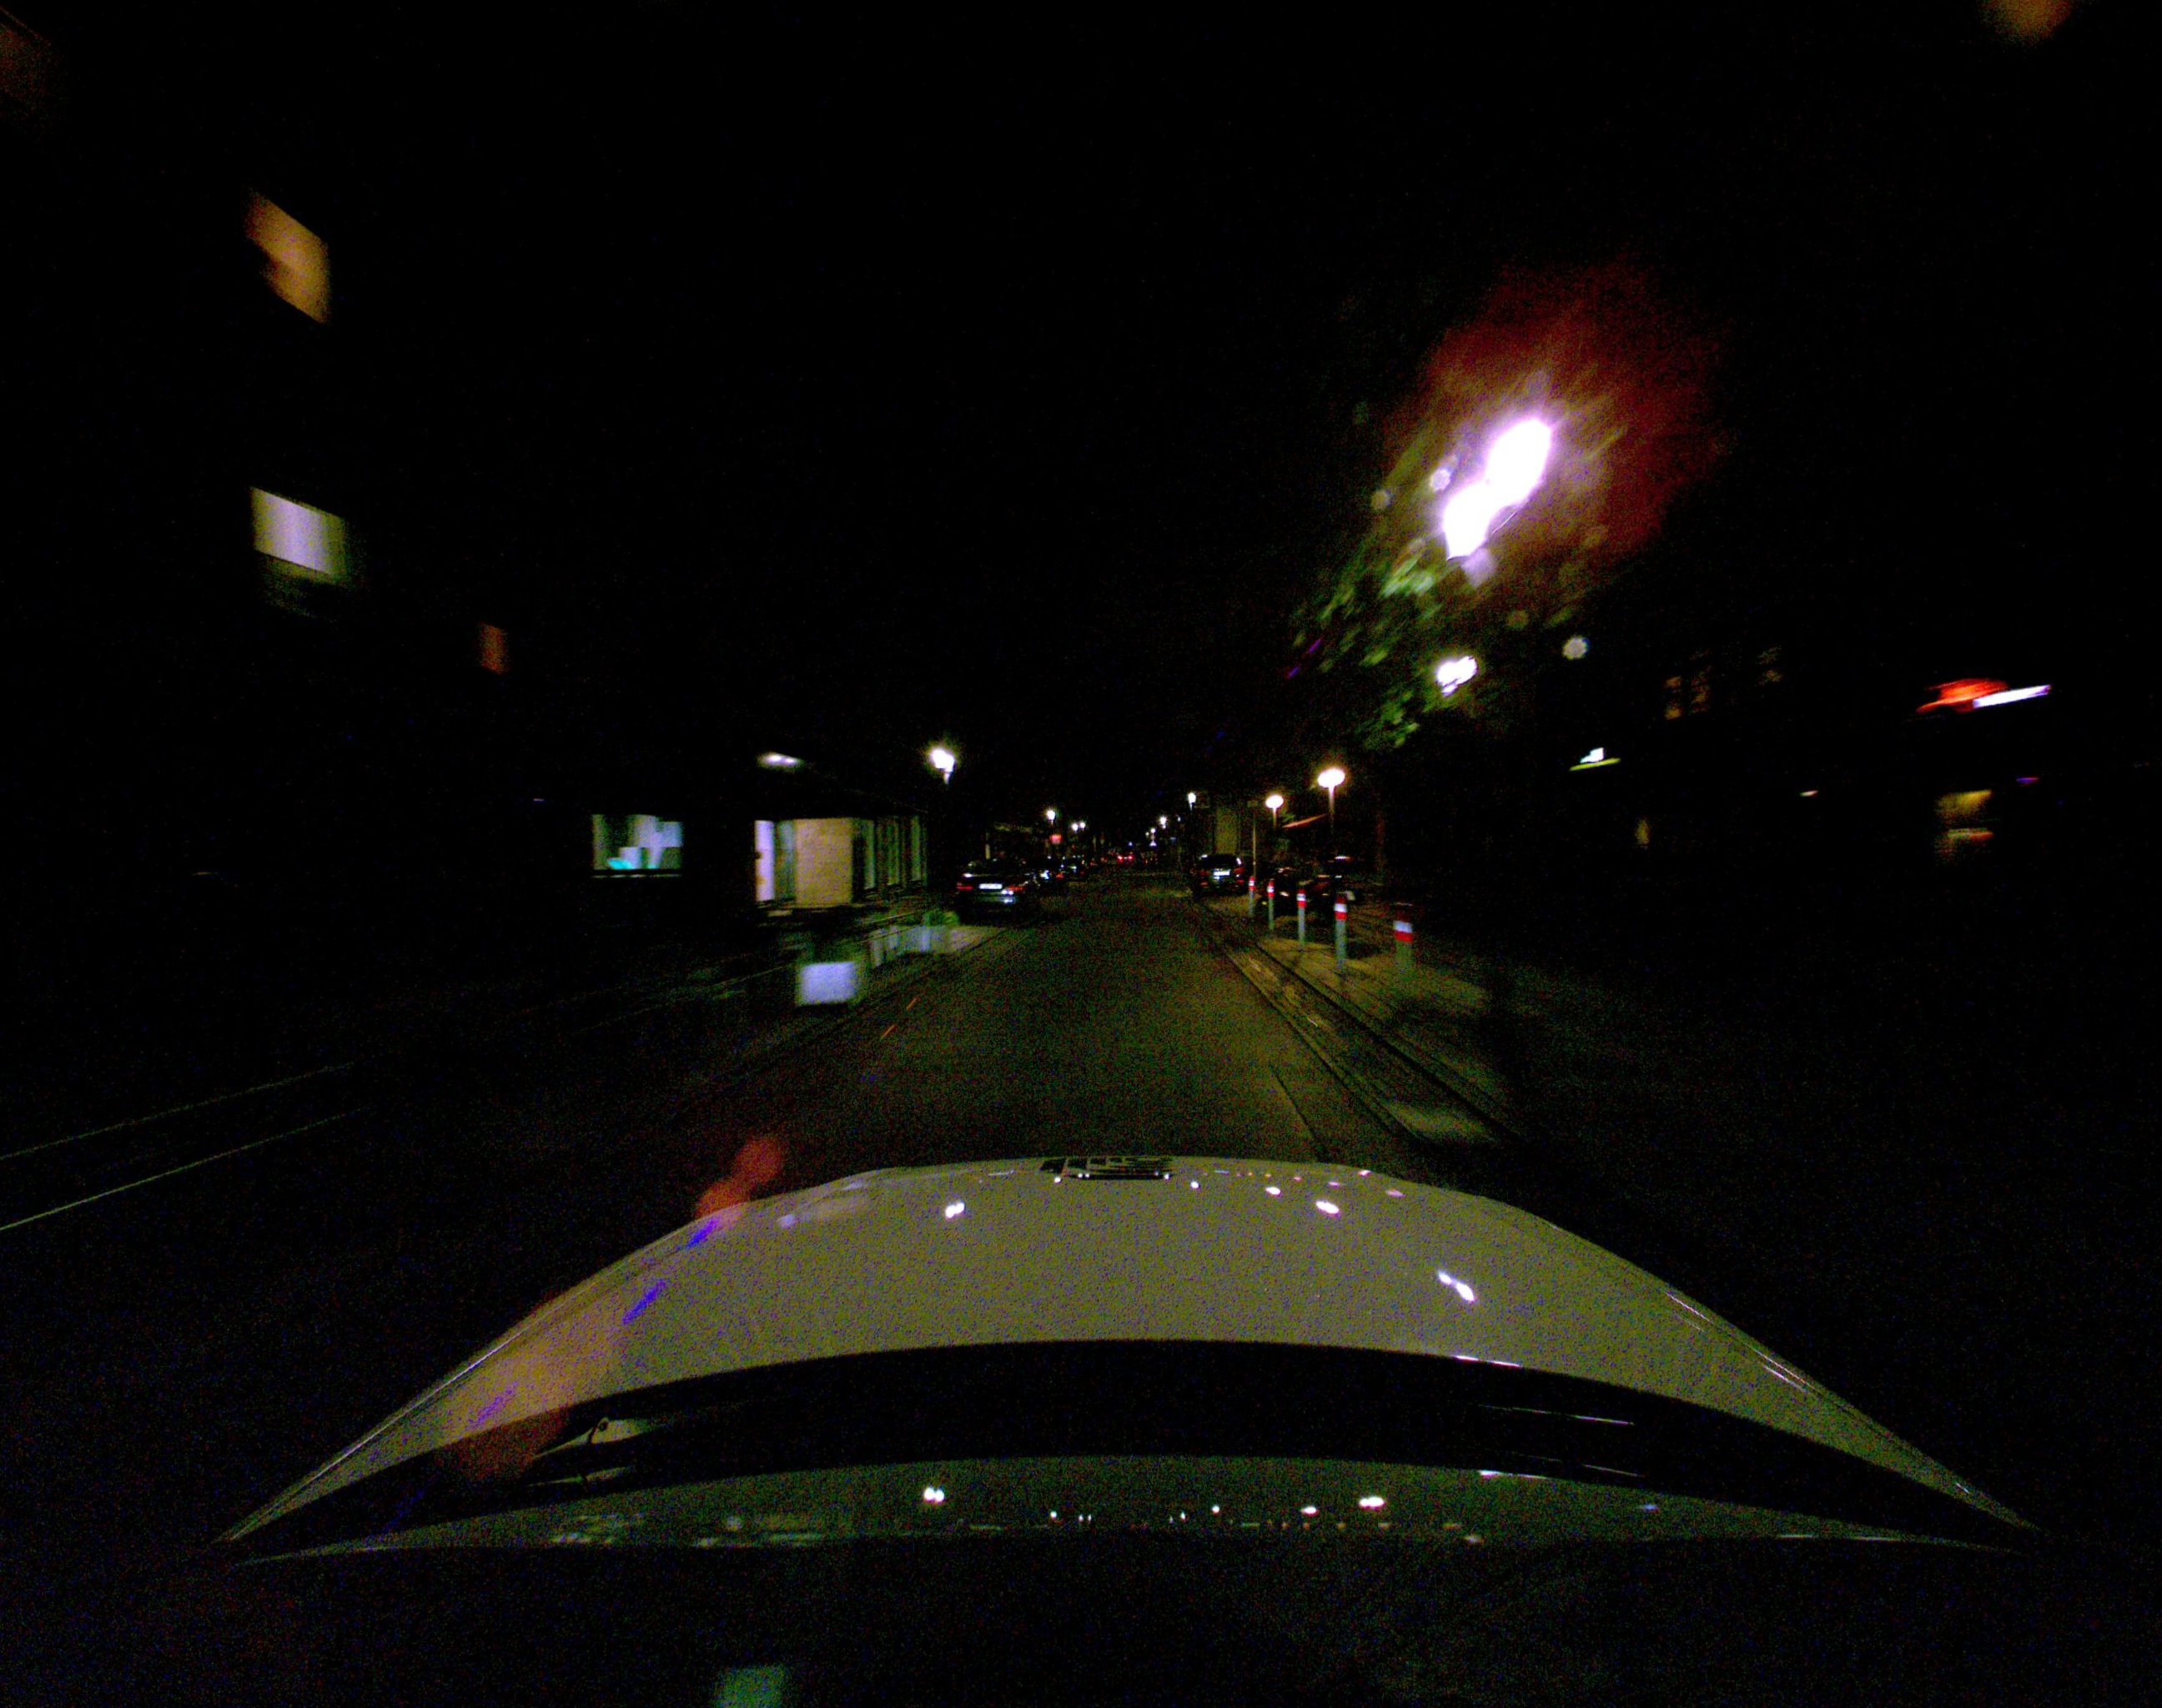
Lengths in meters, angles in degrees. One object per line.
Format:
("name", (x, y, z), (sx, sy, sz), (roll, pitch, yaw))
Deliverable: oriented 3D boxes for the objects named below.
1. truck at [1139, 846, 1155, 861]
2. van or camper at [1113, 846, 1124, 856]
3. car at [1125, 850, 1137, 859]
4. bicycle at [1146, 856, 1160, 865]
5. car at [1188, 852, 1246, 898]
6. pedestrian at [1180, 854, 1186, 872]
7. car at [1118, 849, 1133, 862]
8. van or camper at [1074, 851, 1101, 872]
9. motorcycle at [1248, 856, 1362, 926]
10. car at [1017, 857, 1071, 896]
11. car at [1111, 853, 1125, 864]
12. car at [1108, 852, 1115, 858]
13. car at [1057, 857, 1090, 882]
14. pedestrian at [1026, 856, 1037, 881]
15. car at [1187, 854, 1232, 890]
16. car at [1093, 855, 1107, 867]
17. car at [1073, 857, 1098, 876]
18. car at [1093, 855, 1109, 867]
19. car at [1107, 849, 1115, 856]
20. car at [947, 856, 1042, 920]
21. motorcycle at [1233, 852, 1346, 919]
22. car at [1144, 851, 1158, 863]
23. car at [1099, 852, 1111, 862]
("truck", (10.711, -0.096, 132.382), (2.327, 2.312, 5.784), (-2, 0, 2))
("van or camper", (8.935, -0.637, 194.323), (2.104, 2.317, 4.256), (-3, 0, -4))
("car", (10.323, 0.066, 168.055), (1.811, 1.828, 4.342), (-2, 0, -3))
("bicycle", (9.325, 0.866, 105.446), (1.748, 1.062, 0.346), (-2, 0, 0))
("car", (4.900, 0.714, 29.831), (1.744, 1.464, 4.474), (-3, -1, 6))
("pedestrian", (8.941, 0.774, 71.684), (0.498, 1.547, 0.481), (0, -1, 9))
("car", (6.344, 0.241, 116.598), (1.986, 1.823, 4.002), (-1, 0, 2))
("van or camper", (0.682, 0.674, 77.378), (1.835, 1.942, 5.166), (0, 0, 8))
("motorcycle", (4.427, 0.727, 16.215), (2.143, 1.297, 0.519), (-2, -1, 41))
("car", (-1.404, 0.859, 32.841), (1.838, 1.464, 4.624), (0, 0, 1))
("car", (6.014, 0.688, 133.555), (1.988, 1.702, 3.997), (-1, 0, -2))
("car", (7.819, 0.313, 207.018), (1.527, 1.418, 3.842), (-1, 0, -2))
("car", (-0.421, 0.928, 50.713), (1.790, 1.478, 4.323), (0, 0, 2))
("pedestrian", (-3.626, 1.060, 59.883), (0.618, 1.745, 1.023), (-1, 0, 3))
("car", (5.509, 0.736, 35.346), (1.652, 1.377, 4.111), (-3, -1, 6))
("car", (2.424, 0.866, 103.836), (1.722, 1.477, 3.849), (0, 0, 2))
("car", (0.398, 0.998, 65.381), (1.709, 1.413, 4.390), (0, 0, 4))
("car", (2.672, 0.892, 109.141), (2.011, 1.488, 5.010), (2, 0, 2))
("car", (7.760, -0.337, 213.171), (1.835, 1.901, 3.842), (-1, 0, -2))
("car", (-2.114, 0.800, 21.148), (1.893, 1.470, 4.525), (-1, 0, 1))
("motorcycle", (4.509, 0.689, 17.688), (2.243, 1.391, 0.665), (-2, -1, 27))
("car", (10.041, 0.409, 116.990), (1.781, 1.491, 4.063), (-3, 0, 4))
("car", (4.028, 0.511, 137.309), (1.670, 1.543, 4.226), (0, 0, -3))
